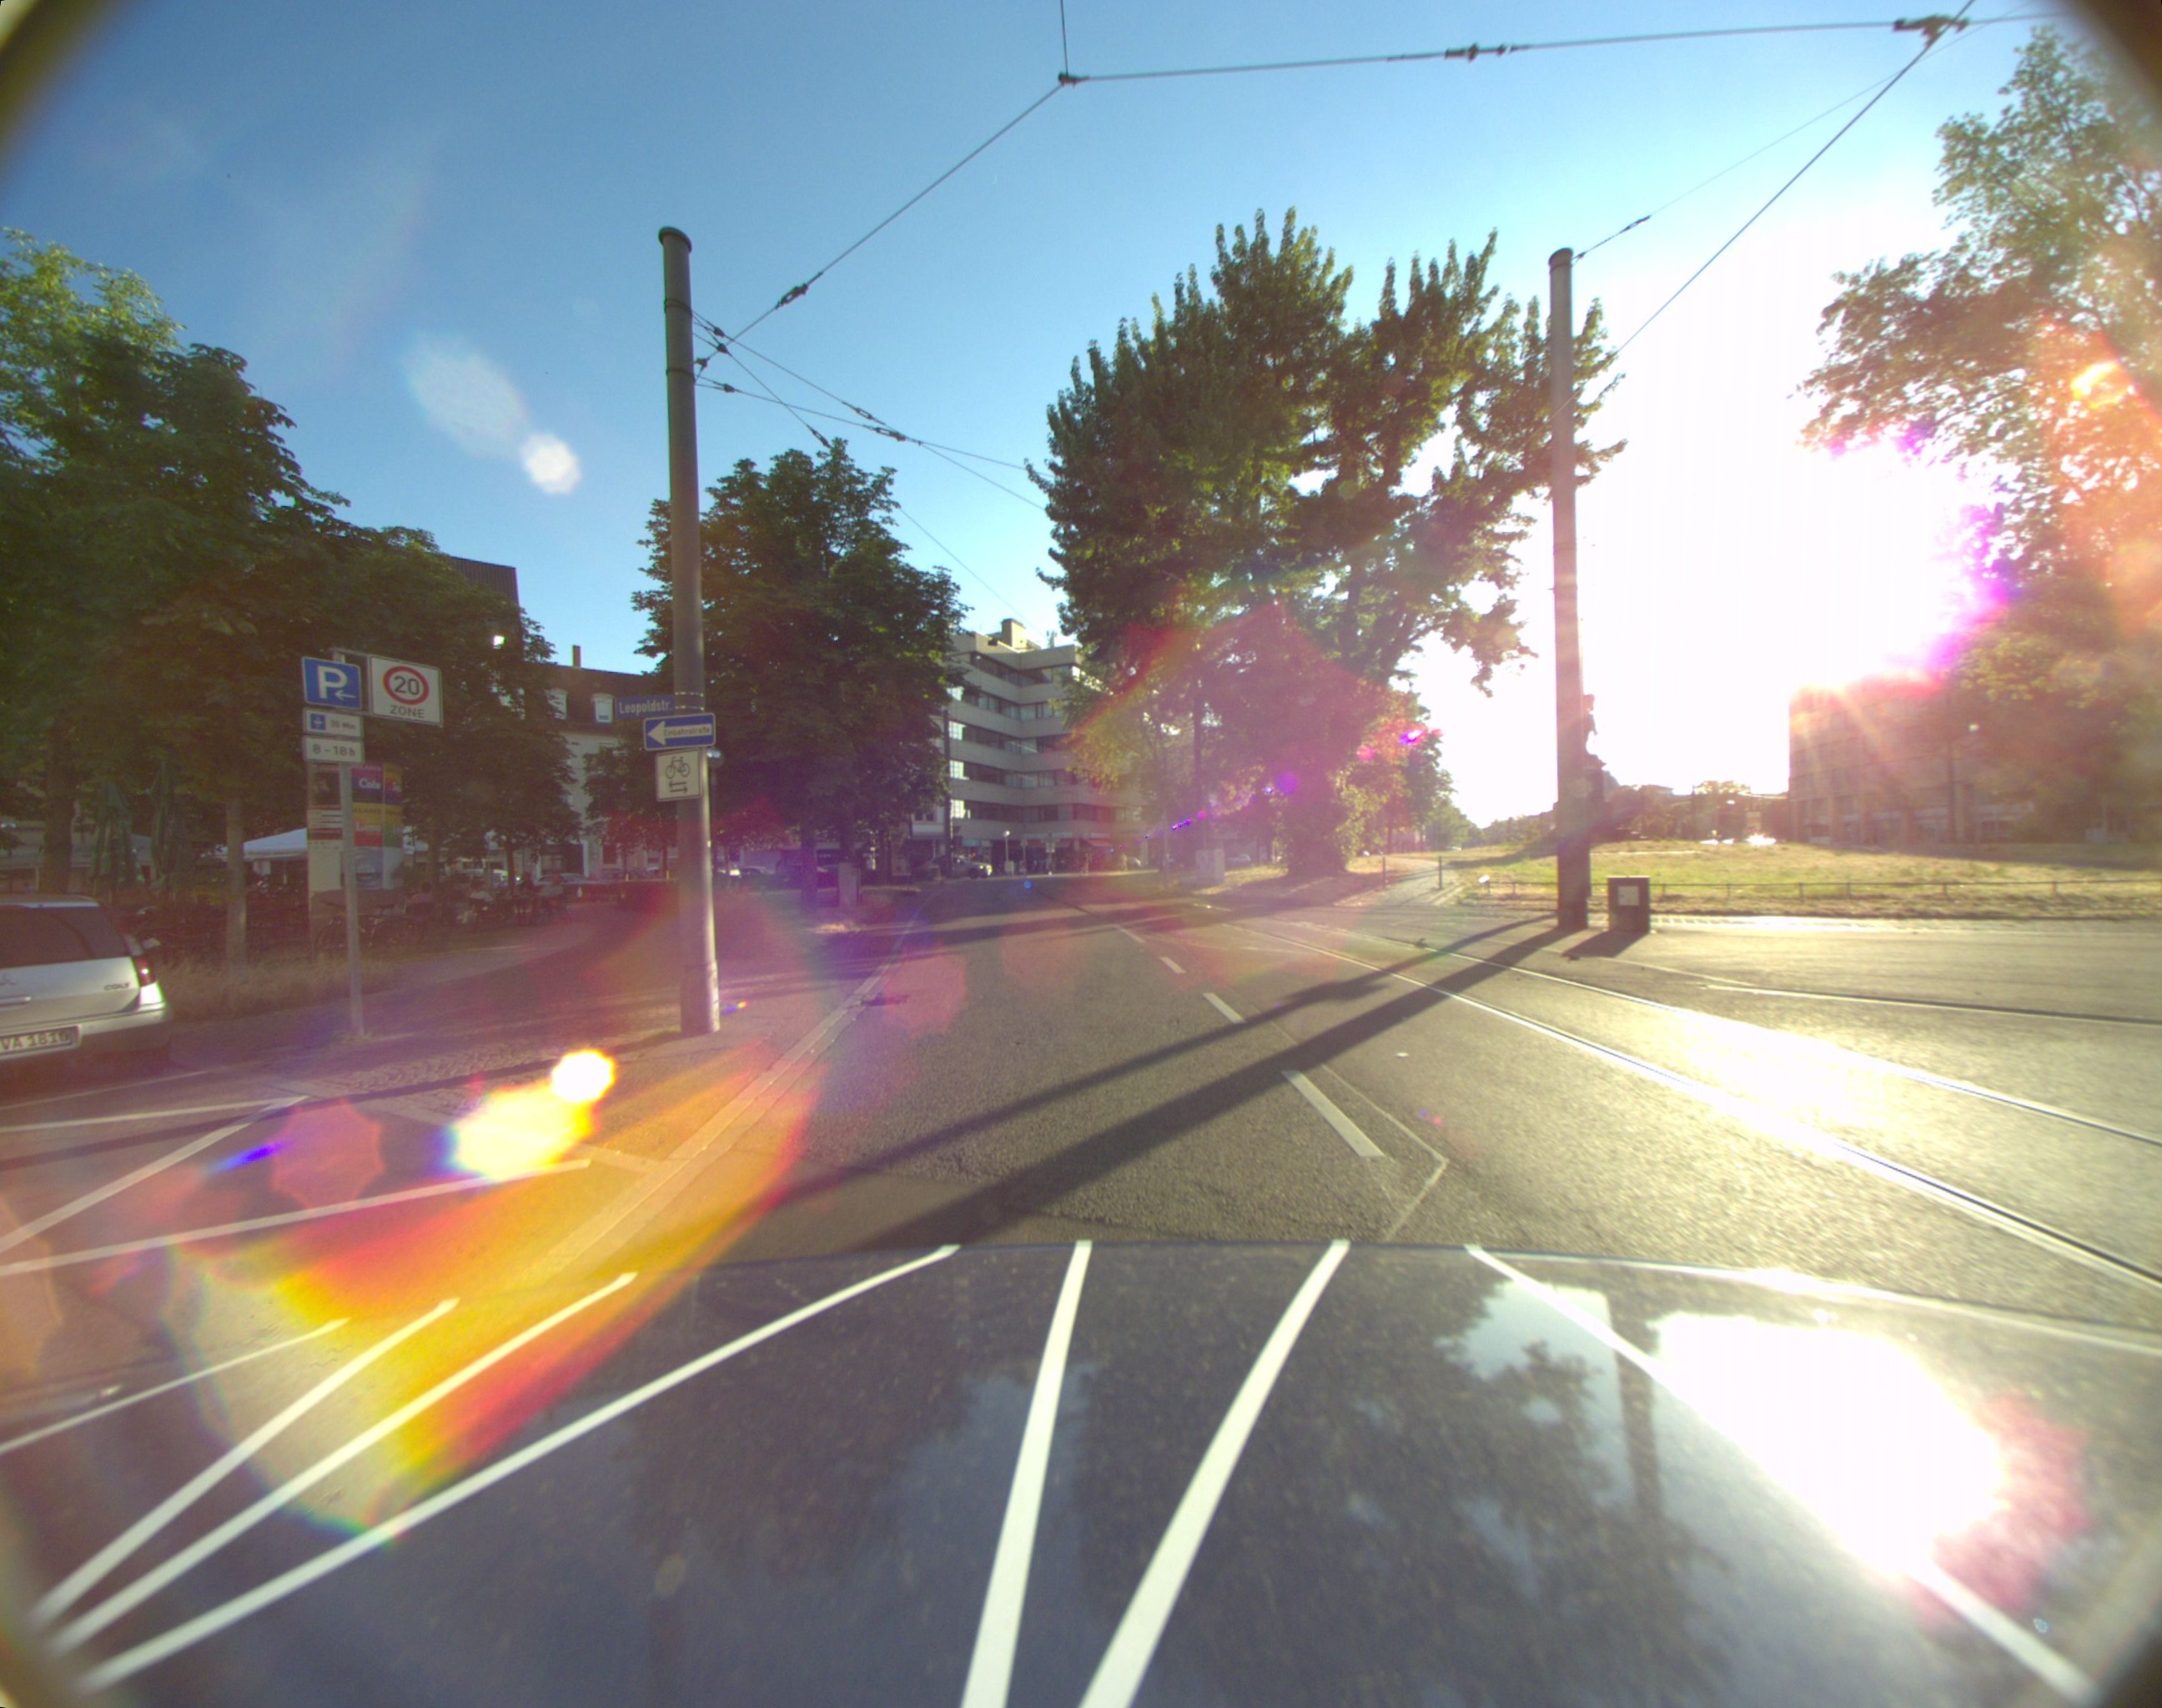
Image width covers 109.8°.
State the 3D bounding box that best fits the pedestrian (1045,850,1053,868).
[{"bbox_3d":[-3.422,0.516,81.262,0.537,1.828,0.619,0,3,-33],"label":"pedestrian"}]

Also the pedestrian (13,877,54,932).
[{"bbox_3d":[-30.782,1.479,22.329,0.530,1.570,0.638,-4,2,-44],"label":"pedestrian"}]

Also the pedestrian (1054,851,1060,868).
[{"bbox_3d":[-2.558,0.575,80.063,0.500,1.828,0.532,2,3,-12],"label":"pedestrian"}]

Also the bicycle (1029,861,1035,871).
[{"bbox_3d":[-4.970,1.253,77.103,0.302,0.987,1.293,-3,0,-13],"label":"bicycle"}]

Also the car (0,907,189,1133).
[{"bbox_3d":[-9.163,1.244,6.051,3.569,1.505,1.742,-2,1,25],"label":"car"}]

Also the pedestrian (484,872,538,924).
[{"bbox_3d":[-15.811,1.197,21.080,0.730,1.348,1.017,0,2,39],"label":"pedestrian"}]

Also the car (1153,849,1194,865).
[{"bbox_3d":[10.887,0.323,89.372,4.531,1.596,1.995,-3,0,-37],"label":"car"}]

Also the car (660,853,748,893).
[{"bbox_3d":[-23.397,1.182,47.200,4.870,2.227,2.097,-3,0,22],"label":"car"}]

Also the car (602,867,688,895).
[{"bbox_3d":[-25.841,1.587,45.063,3.994,1.390,2.001,-3,0,9],"label":"car"}]

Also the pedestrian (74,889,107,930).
[{"bbox_3d":[-28.465,1.587,21.836,0.459,1.111,0.529,-4,1,-44],"label":"pedestrian"}]

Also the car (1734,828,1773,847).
[{"bbox_3d":[78.285,-1.900,88.521,1.995,2.002,4.555,-3,0,24],"label":"car"}]

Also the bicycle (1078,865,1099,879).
[{"bbox_3d":[0.607,1.495,63.060,0.934,1.070,2.225,-2,0,23],"label":"bicycle"}]

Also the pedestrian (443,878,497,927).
[{"bbox_3d":[-16.857,1.327,20.975,0.661,1.235,0.953,-6,-1,39],"label":"pedestrian"}]

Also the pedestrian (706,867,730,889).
[{"bbox_3d":[-21.008,1.365,43.941,0.963,1.219,1.367,-3,0,-37],"label":"pedestrian"}]

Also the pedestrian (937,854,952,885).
[{"bbox_3d":[-7.760,0.855,43.150,0.588,1.733,0.644,-2,0,14],"label":"pedestrian"}]

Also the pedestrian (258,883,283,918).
[{"bbox_3d":[-27.376,1.562,25.662,0.494,1.111,0.556,-4,1,-44],"label":"pedestrian"}]

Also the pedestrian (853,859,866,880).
[{"bbox_3d":[-18.830,1.302,64.505,0.796,1.789,0.637,-3,1,-40],"label":"pedestrian"}]

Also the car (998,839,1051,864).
[{"bbox_3d":[-6.238,-0.293,84.308,5.421,2.711,2.185,0,1,23],"label":"car"}]

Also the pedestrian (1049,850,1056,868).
[{"bbox_3d":[-3.042,0.559,80.631,0.603,1.828,0.573,2,2,-5],"label":"pedestrian"}]

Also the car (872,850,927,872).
[{"bbox_3d":[-15.978,0.610,66.984,4.237,1.774,1.927,-3,2,-40],"label":"car"}]

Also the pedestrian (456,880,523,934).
[{"bbox_3d":[-14.465,1.296,18.600,0.778,1.235,0.990,-2,0,23],"label":"pedestrian"}]

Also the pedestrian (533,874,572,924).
[{"bbox_3d":[-13.704,1.152,19.704,0.567,1.237,0.614,-1,1,36],"label":"pedestrian"}]

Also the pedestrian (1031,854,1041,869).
[{"bbox_3d":[-4.628,0.733,78.088,0.794,1.528,0.568,-3,2,-36],"label":"pedestrian"}]

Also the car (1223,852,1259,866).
[{"bbox_3d":[20.577,0.650,97.629,4.531,1.596,1.995,-3,0,-37],"label":"car"}]

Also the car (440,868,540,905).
[{"bbox_3d":[-31.541,1.724,40.577,3.994,1.696,2.001,-3,0,11],"label":"car"}]

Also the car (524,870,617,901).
[{"bbox_3d":[-28.529,1.733,42.521,3.994,1.477,2.001,-3,0,9],"label":"car"}]

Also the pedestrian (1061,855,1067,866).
[{"bbox_3d":[-1.936,0.729,85.161,0.460,1.188,0.421,3,3,27],"label":"pedestrian"}]

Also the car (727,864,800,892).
[{"bbox_3d":[-20.524,1.539,49.156,3.992,1.595,1.954,-3,0,16],"label":"car"}]

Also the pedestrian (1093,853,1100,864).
[{"bbox_3d":[1.836,0.535,89.346,0.611,1.313,0.592,-1,1,17],"label":"pedestrian"}]

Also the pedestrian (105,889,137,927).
[{"bbox_3d":[-29.469,1.660,23.334,0.494,1.111,0.556,-4,1,-44],"label":"pedestrian"}]

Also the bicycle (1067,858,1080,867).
[{"bbox_3d":[-0.880,0.953,84.391,1.445,0.987,0.531,0,2,-1],"label":"bicycle"}]

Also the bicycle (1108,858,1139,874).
[{"bbox_3d":[4.132,1.137,73.891,1.269,1.353,3.247,-2,1,42],"label":"bicycle"}]

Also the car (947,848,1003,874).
[{"bbox_3d":[-9.528,0.602,68.342,4.531,2.143,1.995,-3,0,-37],"label":"car"}]

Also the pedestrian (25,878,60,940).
[{"bbox_3d":[-29.002,1.526,21.222,0.329,1.675,0.388,-2,1,-8],"label":"pedestrian"}]

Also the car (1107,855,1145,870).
[{"bbox_3d":[5.037,0.928,84.547,4.007,1.433,1.790,-3,0,-38],"label":"car"}]

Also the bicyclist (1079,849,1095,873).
[{"bbox_3d":[0.499,0.587,62.871,0.922,1.962,1.115,-2,0,22],"label":"bicyclist"}]

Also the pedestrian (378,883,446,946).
[{"bbox_3d":[-15.029,1.350,17.076,0.950,1.276,0.664,-6,-1,18],"label":"pedestrian"}]

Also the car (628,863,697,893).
[{"bbox_3d":[-30.238,1.709,54.919,4.007,1.875,1.946,-3,3,-39],"label":"car"}]

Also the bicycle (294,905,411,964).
[{"bbox_3d":[-13.628,1.491,14.276,1.532,0.924,0.554,-3,1,-41],"label":"bicycle"}]

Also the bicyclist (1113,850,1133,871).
[{"bbox_3d":[4.095,0.657,73.861,1.233,1.980,1.369,-2,1,42],"label":"bicyclist"}]

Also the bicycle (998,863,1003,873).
[{"bbox_3d":[-7.839,1.382,73.830,0.302,0.987,1.293,-3,0,-13],"label":"bicycle"}]

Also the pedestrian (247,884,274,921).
[{"bbox_3d":[-26.393,1.552,24.450,0.494,1.111,0.556,-4,1,-44],"label":"pedestrian"}]

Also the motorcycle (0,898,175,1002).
[{"bbox_3d":[-15.780,1.471,11.591,2.246,1.360,0.950,-4,1,-23],"label":"motorcycle"}]

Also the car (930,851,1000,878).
[{"bbox_3d":[-8.686,0.793,56.814,4.701,1.761,2.002,-3,0,17],"label":"car"}]

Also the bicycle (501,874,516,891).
[{"bbox_3d":[-27.955,1.397,37.088,0.447,0.775,1.271,-3,1,-41],"label":"bicycle"}]
